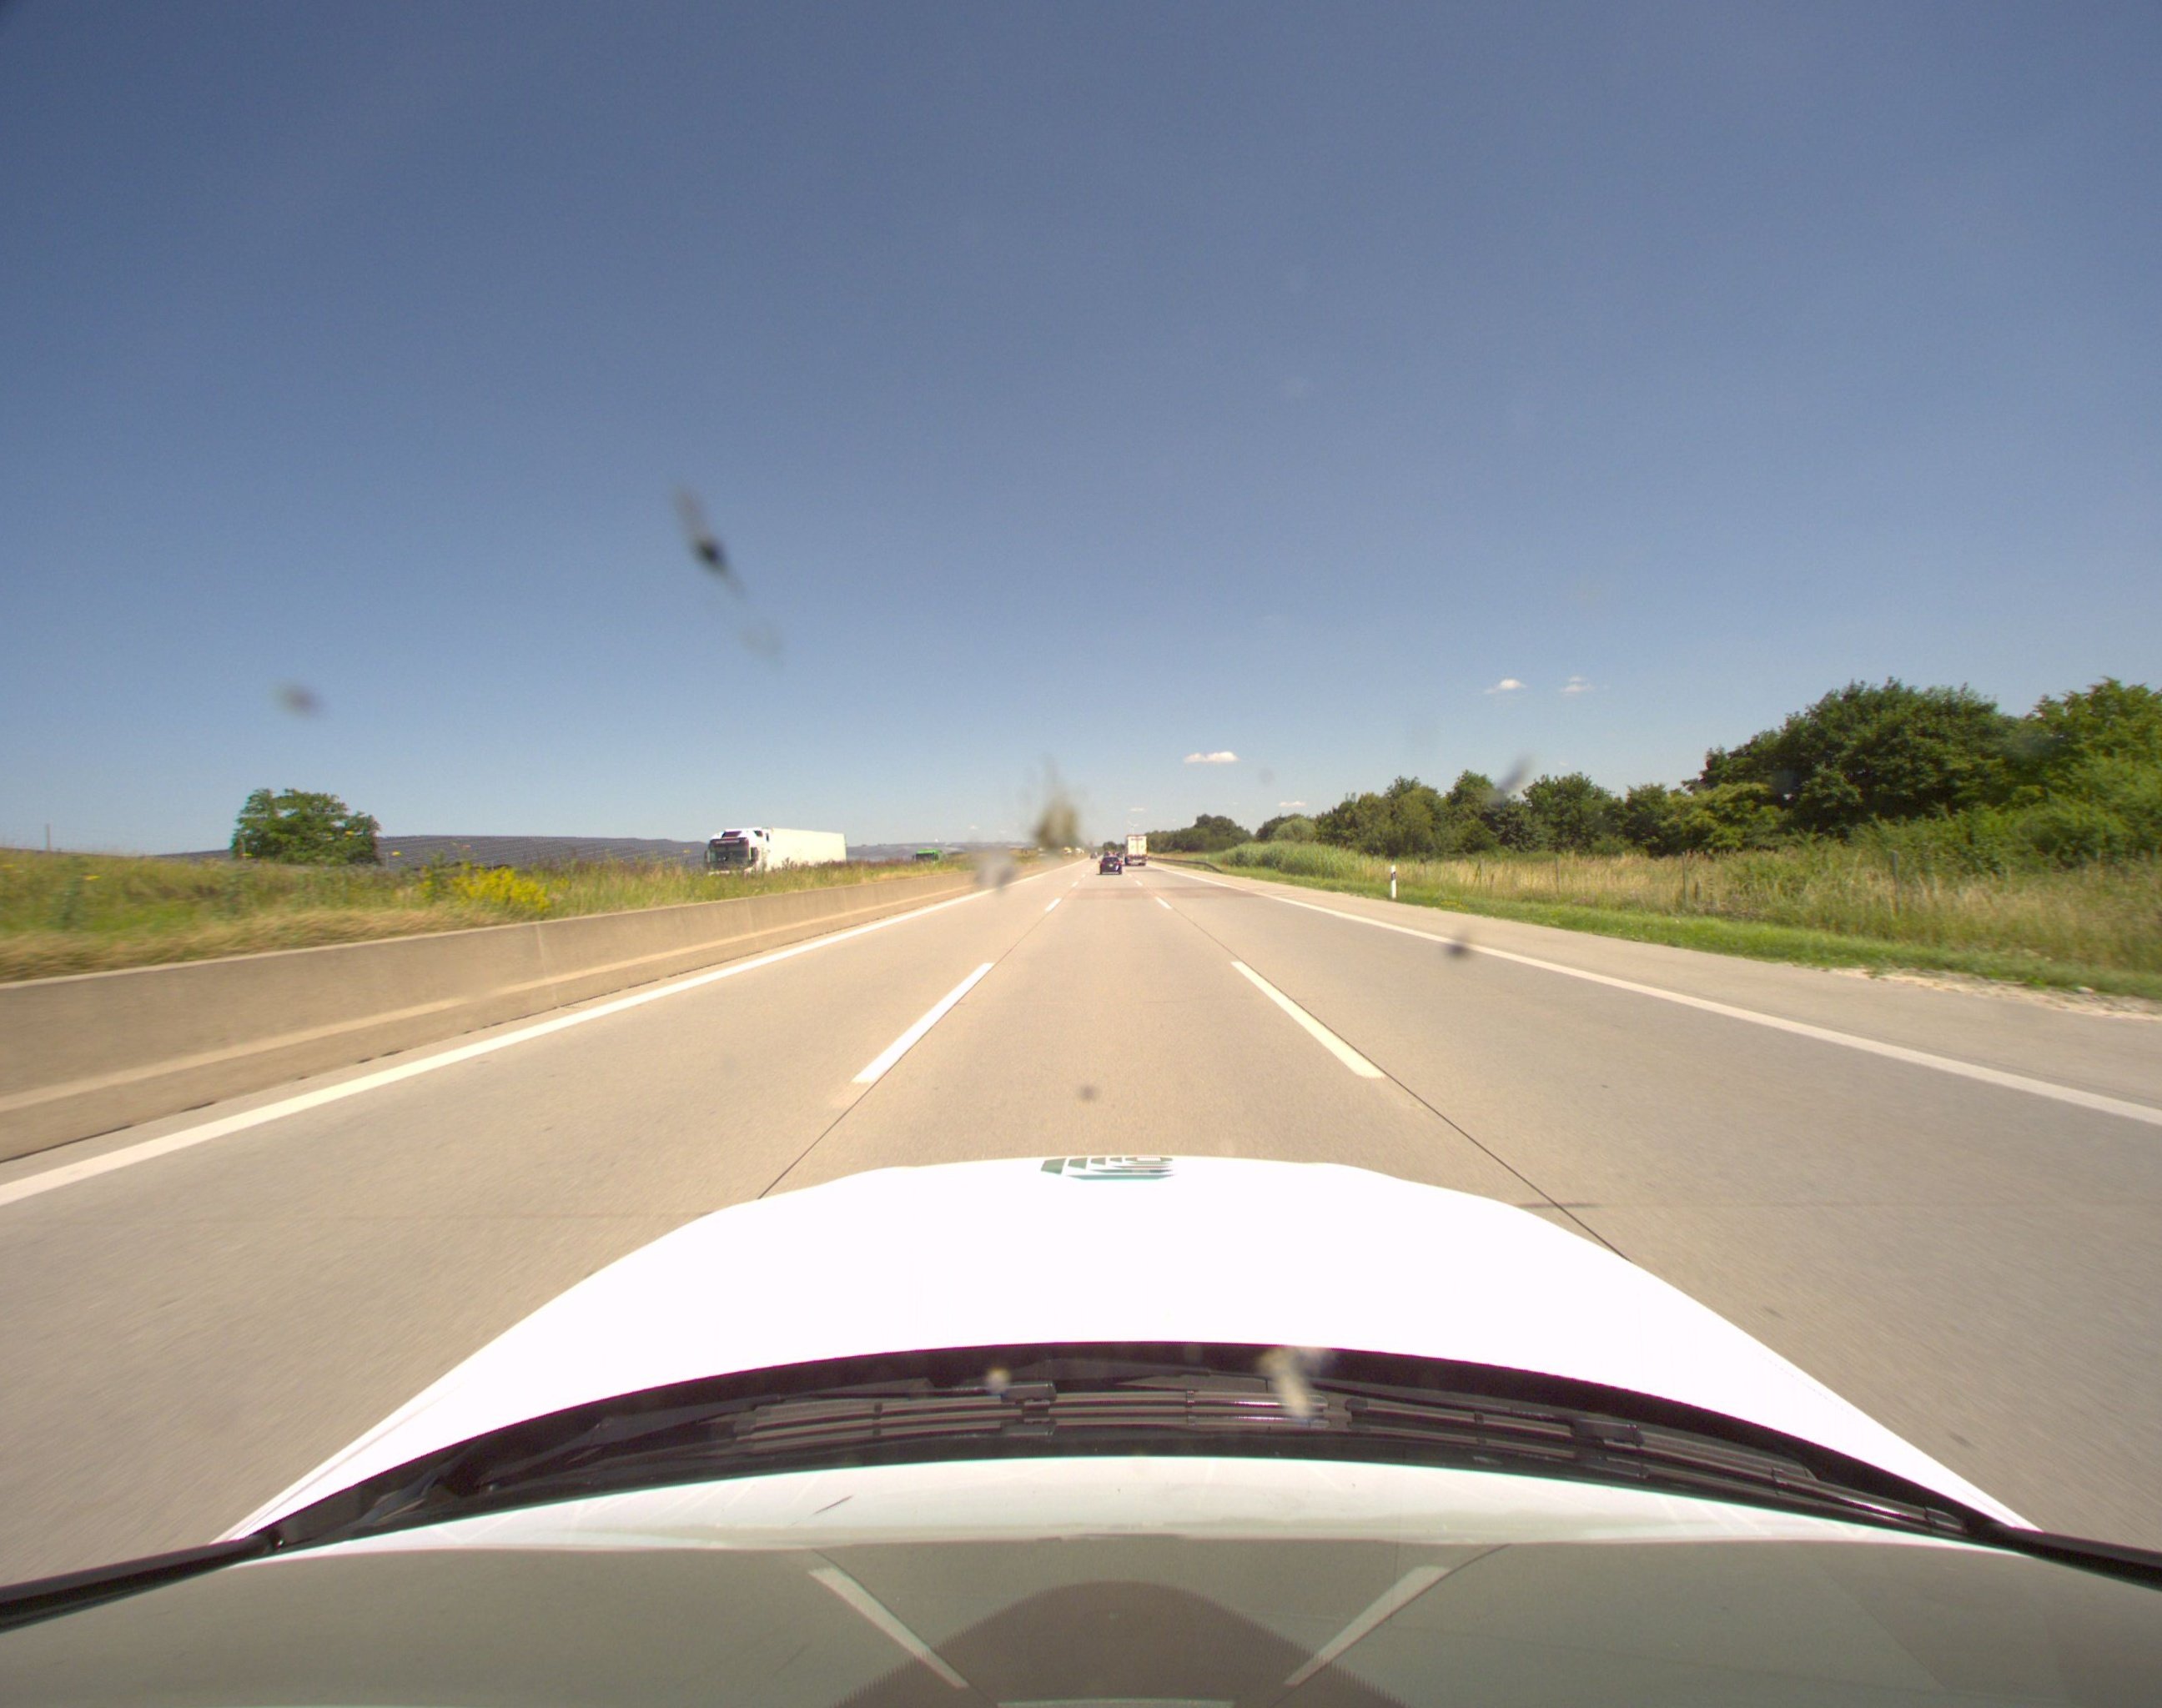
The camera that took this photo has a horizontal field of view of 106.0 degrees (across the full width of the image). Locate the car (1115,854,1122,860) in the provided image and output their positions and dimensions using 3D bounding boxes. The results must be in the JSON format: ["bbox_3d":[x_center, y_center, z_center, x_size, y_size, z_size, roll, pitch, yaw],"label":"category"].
[{"bbox_3d":[11.102,0.892,241.388,1.819,1.907,4.004,-1,0,4],"label":"car"}]

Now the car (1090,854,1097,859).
[{"bbox_3d":[3.452,0.745,225.927,1.649,1.196,3.962,2,0,2],"label":"car"}]

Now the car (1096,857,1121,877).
[{"bbox_3d":[2.195,1.009,65.207,1.903,1.492,4.193,0,0,1],"label":"car"}]

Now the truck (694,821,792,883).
[{"bbox_3d":[-18.820,-0.080,45.774,2.822,3.157,5.829,-2,-1,2],"label":"truck"}]

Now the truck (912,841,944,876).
[{"bbox_3d":[-17.754,0.516,94.915,2.735,3.951,4.355,0,0,2],"label":"truck"}]

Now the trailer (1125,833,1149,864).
[{"bbox_3d":[7.527,-0.694,110.866,2.841,4.042,12.720,0,0,2],"label":"trailer"}]

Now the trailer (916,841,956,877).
[{"bbox_3d":[-17.565,0.566,99.444,2.722,4.191,10.262,-1,0,2],"label":"trailer"}]

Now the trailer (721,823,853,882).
[{"bbox_3d":[-18.591,-0.025,53.039,2.822,3.183,14.511,-2,-1,2],"label":"trailer"}]
